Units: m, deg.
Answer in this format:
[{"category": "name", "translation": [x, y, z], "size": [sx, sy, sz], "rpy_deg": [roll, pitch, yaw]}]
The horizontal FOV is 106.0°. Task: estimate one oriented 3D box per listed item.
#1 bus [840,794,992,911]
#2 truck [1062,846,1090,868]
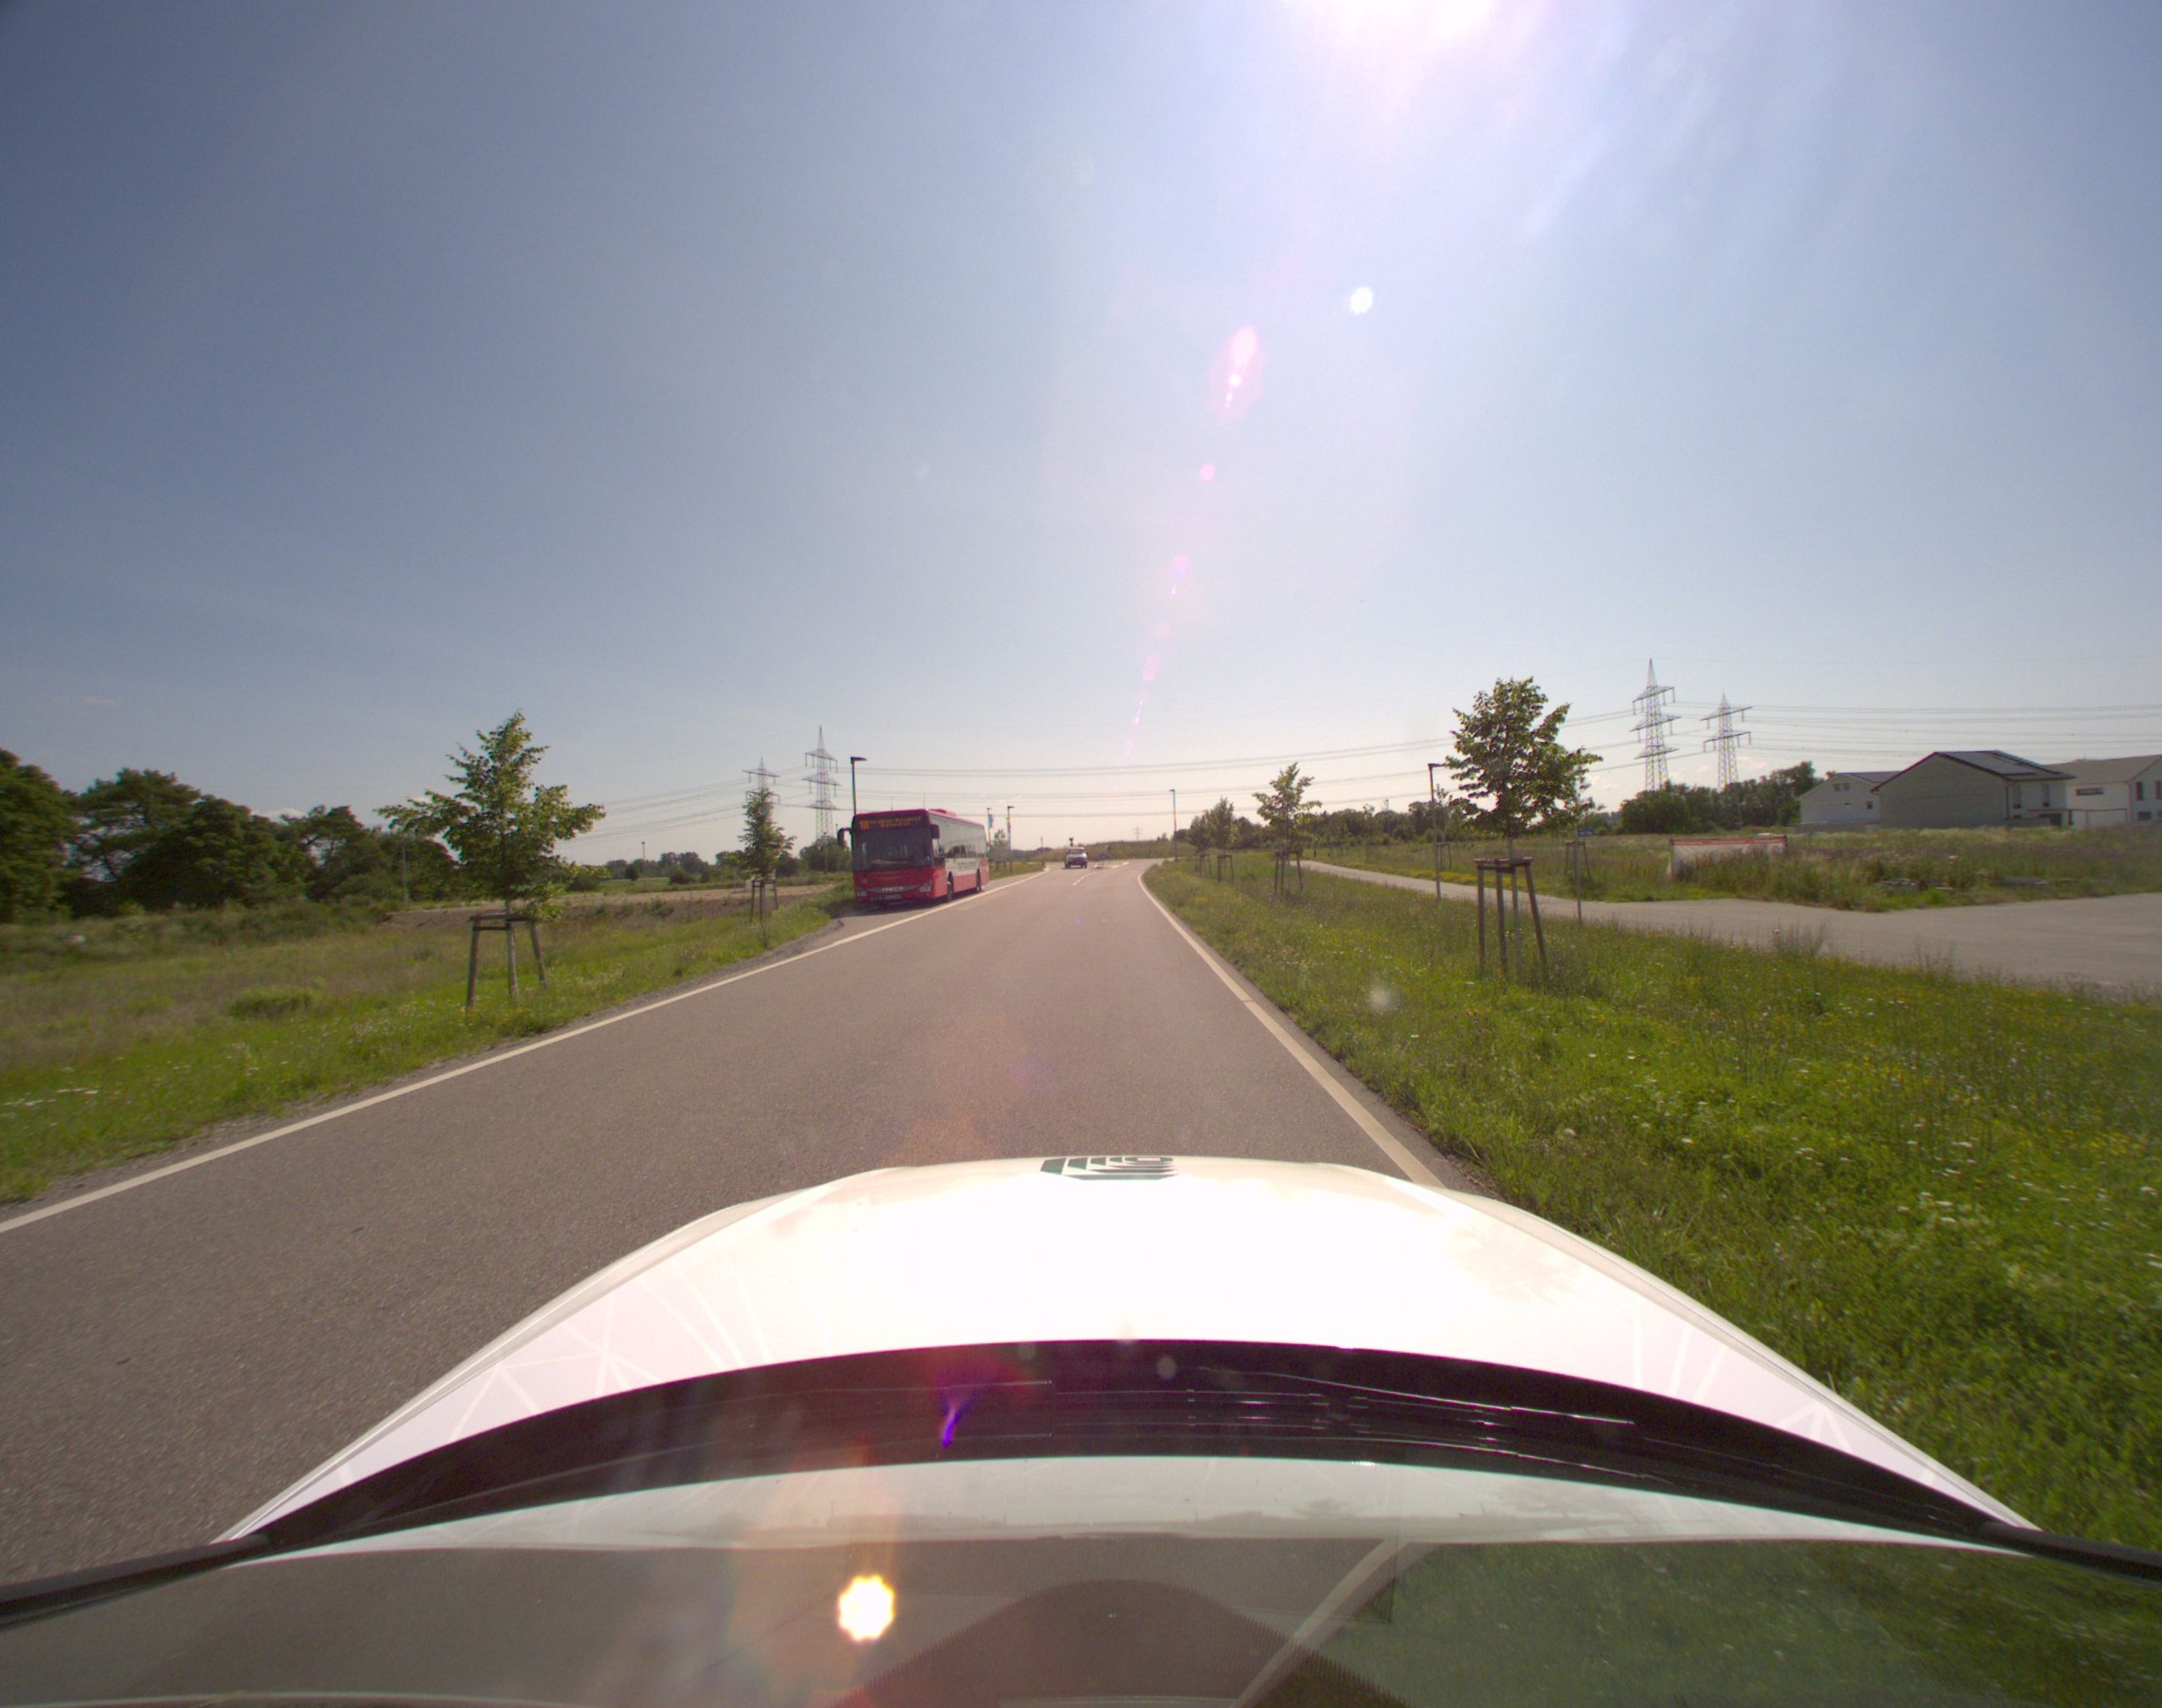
[{"category": "bus", "translation": [-5.556, -0.031, 30.301], "size": [2.784, 3.287, 12.230], "rpy_deg": [-4, 0, 1]}, {"category": "truck", "translation": [-0.525, 0.297, 77.801], "size": [1.950, 1.985, 5.629], "rpy_deg": [-1, 0, -8]}]
